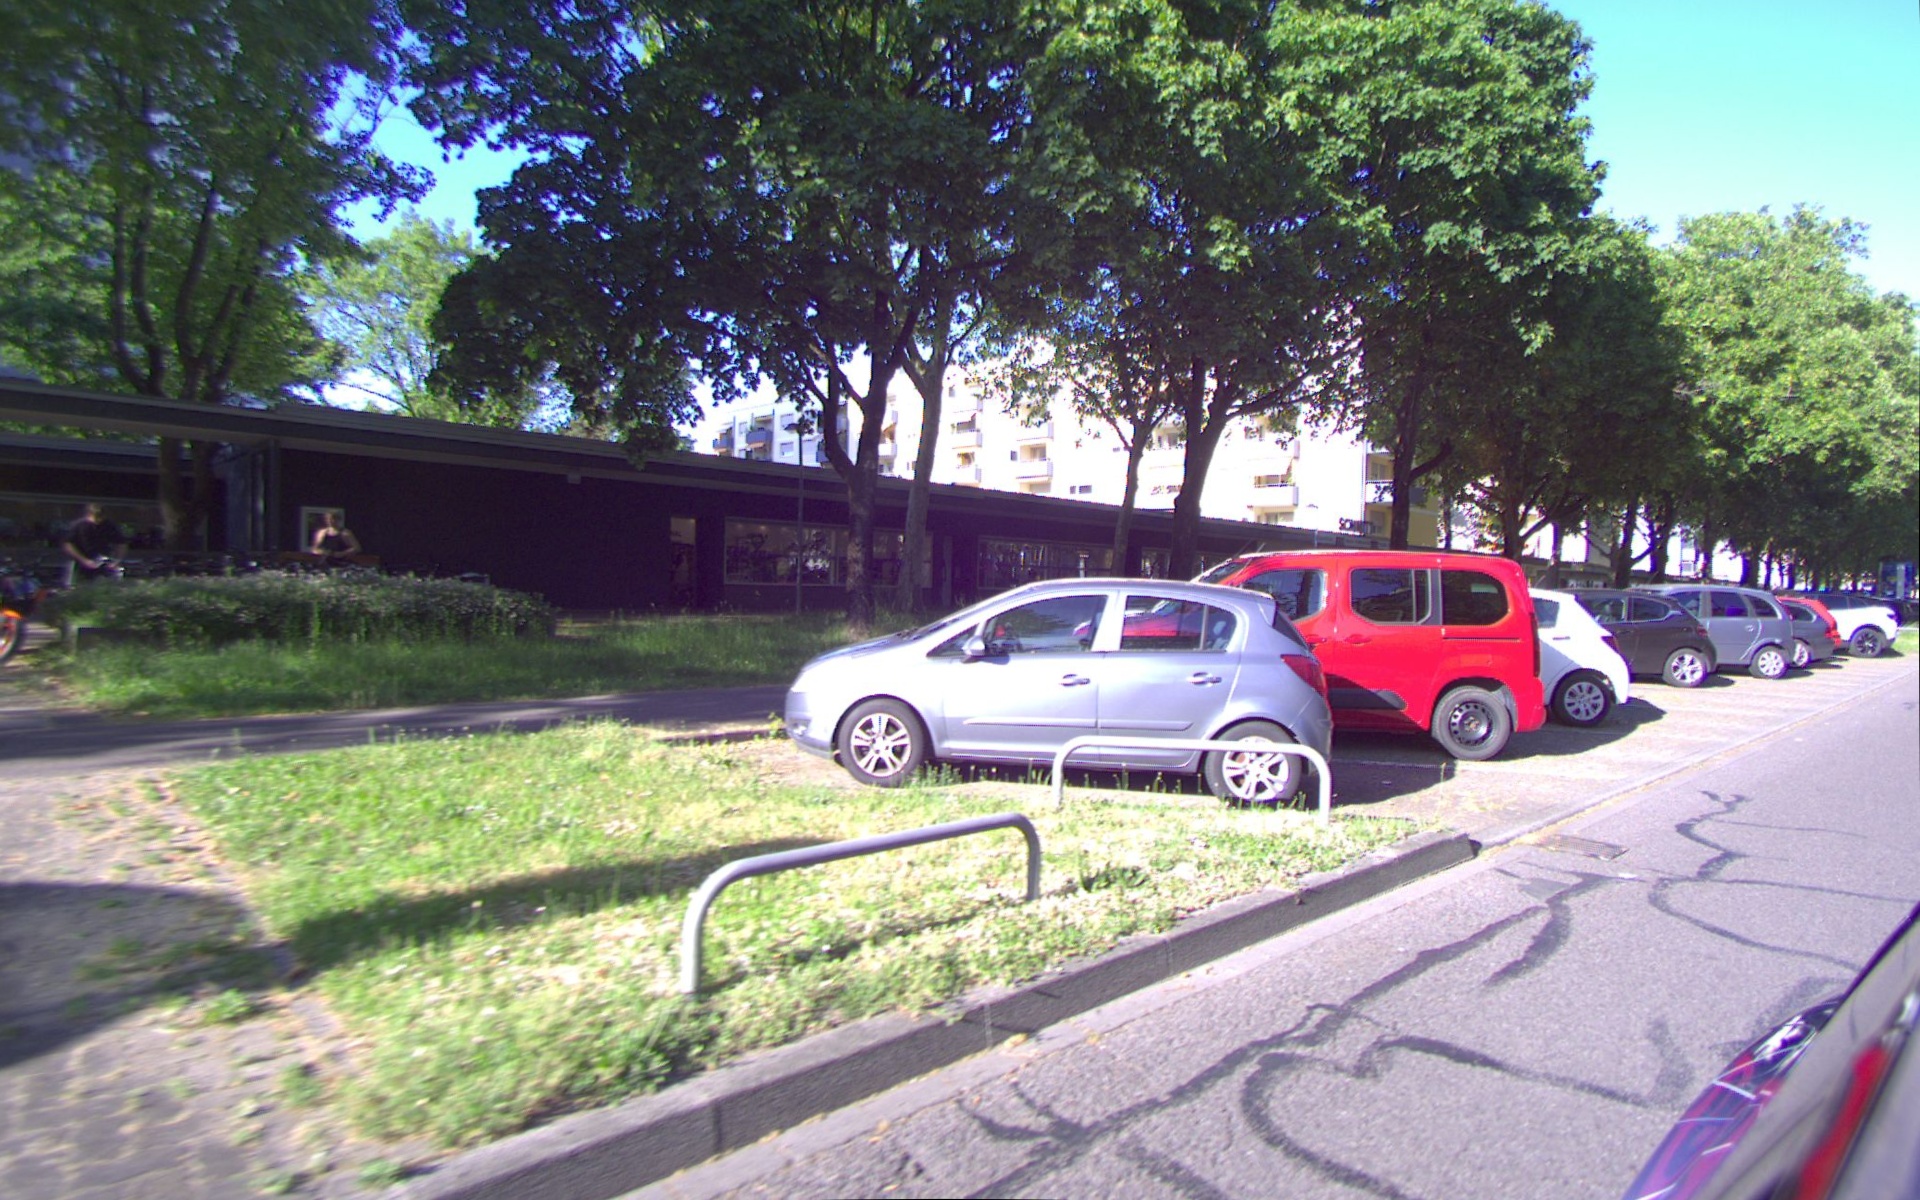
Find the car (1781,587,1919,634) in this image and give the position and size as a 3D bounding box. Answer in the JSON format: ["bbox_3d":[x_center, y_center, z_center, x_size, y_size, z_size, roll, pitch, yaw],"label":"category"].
[{"bbox_3d":[32.738,0.384,36.380,4.591,1.442,1.999,2,2,3],"label":"car"}]

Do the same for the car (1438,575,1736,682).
[{"bbox_3d":[10.027,0.410,16.415,3.678,1.476,1.682,2,2,4],"label":"car"}]

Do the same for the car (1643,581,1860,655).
[{"bbox_3d":[18.334,0.381,23.601,3.515,1.437,1.709,3,3,7],"label":"car"}]

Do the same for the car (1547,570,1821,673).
[{"bbox_3d":[13.151,0.346,18.561,3.655,1.610,1.700,2,2,3],"label":"car"}]

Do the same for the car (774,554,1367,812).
[{"bbox_3d":[0.721,0.478,7.301,3.764,1.490,1.516,2,2,7],"label":"car"}]

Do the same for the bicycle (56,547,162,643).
[{"bbox_3d":[-11.209,-0.105,13.392,0.550,1.172,2.078,1,2,-25],"label":"bicycle"}]

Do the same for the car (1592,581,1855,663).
[{"bbox_3d":[15.743,0.417,21.030,4.012,1.420,1.686,3,2,3],"label":"car"}]

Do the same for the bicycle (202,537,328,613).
[{"bbox_3d":[-12.146,-0.431,17.717,1.775,1.269,0.576,-1,0,-41],"label":"bicycle"}]

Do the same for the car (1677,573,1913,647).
[{"bbox_3d":[21.261,0.227,25.943,4.231,1.696,1.863,2,1,8],"label":"car"}]

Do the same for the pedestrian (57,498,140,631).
[{"bbox_3d":[-11.707,-0.483,13.742,1.126,1.729,0.721,2,2,42],"label":"pedestrian"}]

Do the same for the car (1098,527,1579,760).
[{"bbox_3d":[3.348,0.322,9.655,3.882,1.865,1.767,2,2,6],"label":"car"}]

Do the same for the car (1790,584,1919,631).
[{"bbox_3d":[35.239,0.298,39.038,4.591,1.585,1.999,2,2,3],"label":"car"}]

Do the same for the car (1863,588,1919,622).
[{"bbox_3d":[46.099,0.296,48.101,4.418,1.466,1.899,2,2,3],"label":"car"}]

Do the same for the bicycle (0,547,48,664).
[{"bbox_3d":[-10.574,0.017,11.125,2.064,1.172,0.554,4,3,41],"label":"bicycle"}]

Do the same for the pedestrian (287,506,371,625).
[{"bbox_3d":[-10.278,-0.563,16.492,0.964,1.863,0.938,2,2,42],"label":"pedestrian"}]

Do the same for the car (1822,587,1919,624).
[{"bbox_3d":[42.283,0.268,45.952,4.418,1.466,1.899,2,2,3],"label":"car"}]

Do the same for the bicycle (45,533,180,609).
[{"bbox_3d":[-14.691,-0.492,17.581,1.775,1.269,0.576,-1,0,-41],"label":"bicycle"}]

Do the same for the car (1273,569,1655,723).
[{"bbox_3d":[5.717,0.462,11.881,3.564,1.513,1.680,2,2,6],"label":"car"}]
